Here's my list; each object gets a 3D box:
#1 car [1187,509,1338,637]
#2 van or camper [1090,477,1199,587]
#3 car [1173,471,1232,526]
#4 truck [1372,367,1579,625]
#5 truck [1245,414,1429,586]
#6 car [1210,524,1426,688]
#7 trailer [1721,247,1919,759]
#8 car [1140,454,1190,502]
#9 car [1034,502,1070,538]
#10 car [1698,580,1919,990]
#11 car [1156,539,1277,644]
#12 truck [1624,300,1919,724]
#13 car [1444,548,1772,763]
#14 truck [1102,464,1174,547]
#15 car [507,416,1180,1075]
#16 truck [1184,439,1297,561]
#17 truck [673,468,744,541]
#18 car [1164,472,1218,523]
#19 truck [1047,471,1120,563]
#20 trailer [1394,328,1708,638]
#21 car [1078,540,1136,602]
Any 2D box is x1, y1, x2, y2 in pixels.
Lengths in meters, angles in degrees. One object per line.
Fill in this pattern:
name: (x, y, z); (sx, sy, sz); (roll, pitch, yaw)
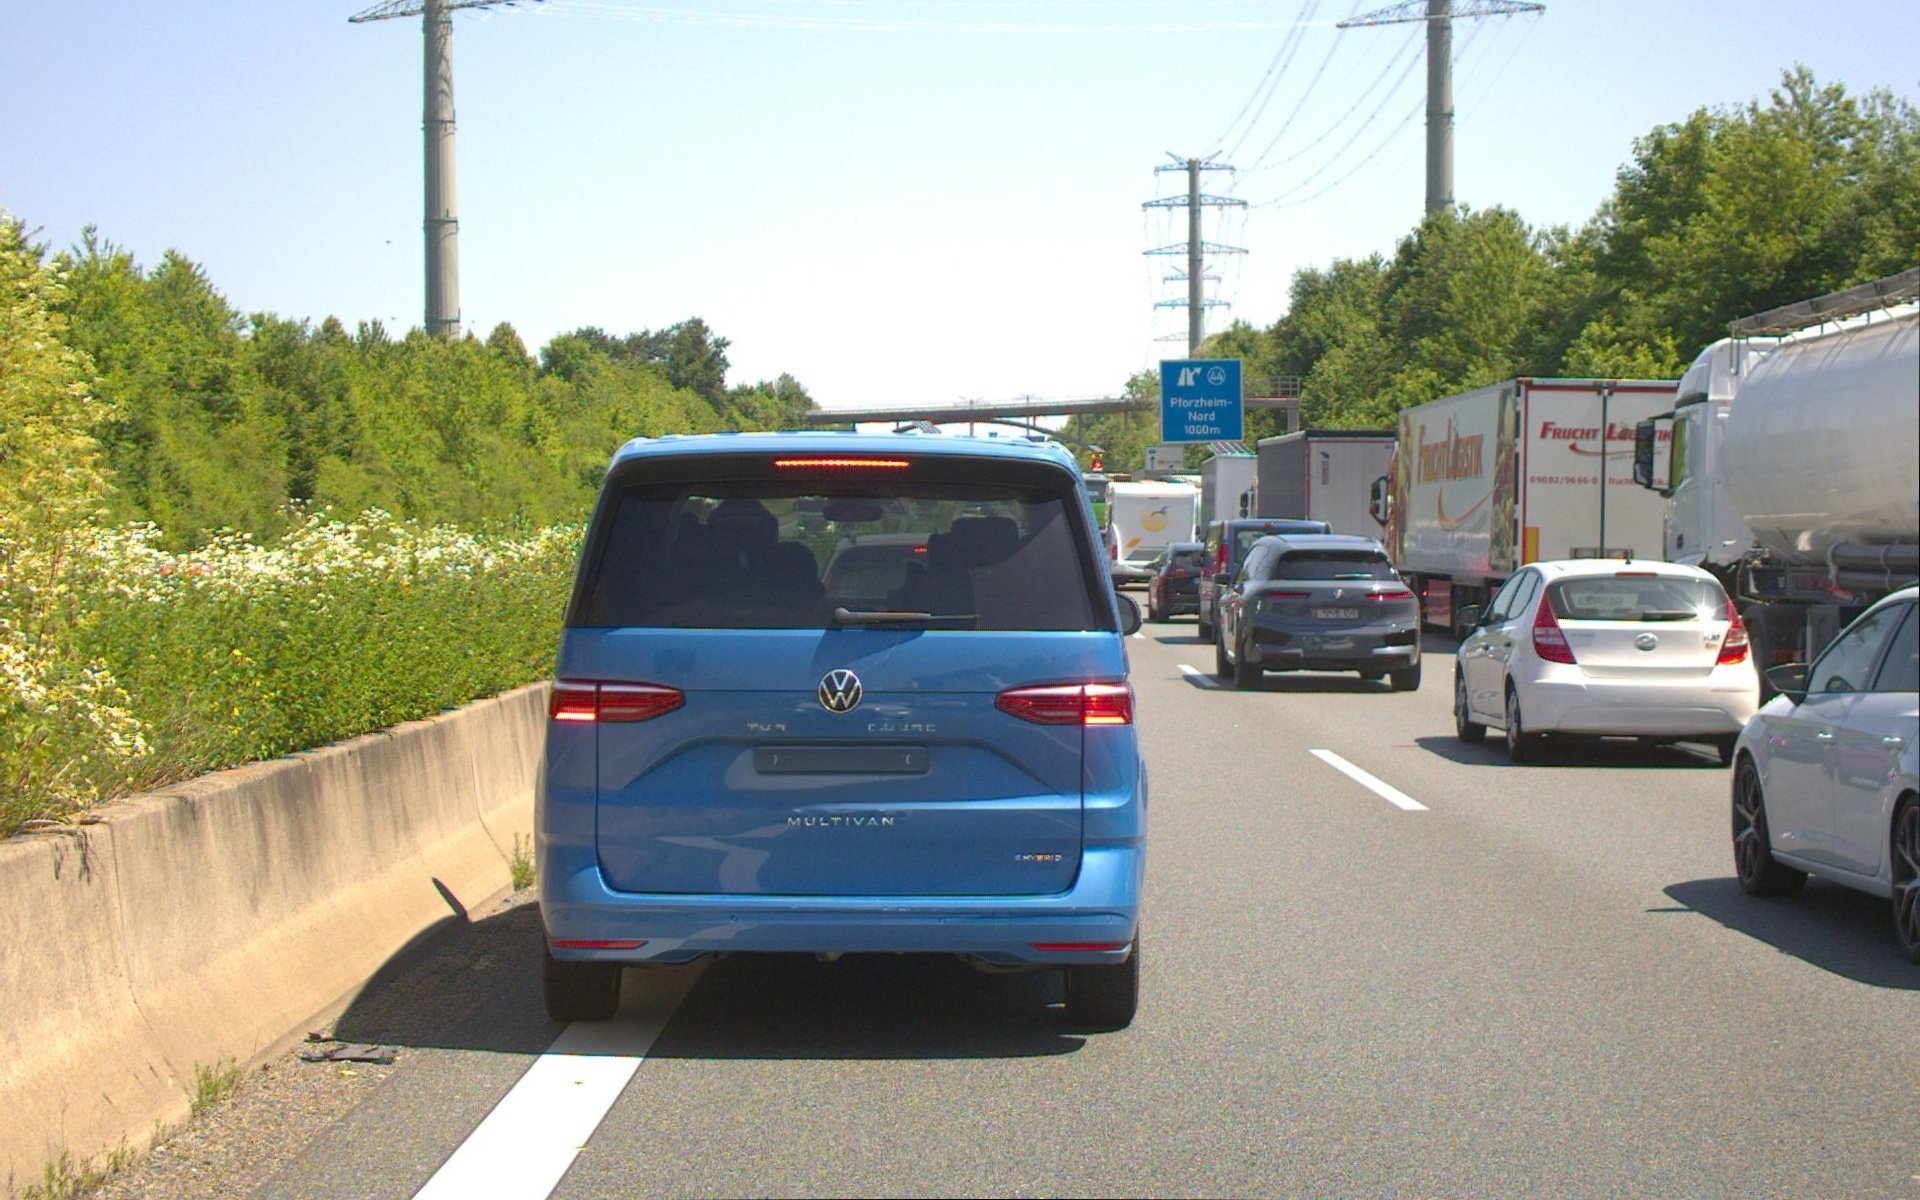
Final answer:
car: (4.784, -0.415, 54.844); (1.923, 1.919, 4.236); (-2, 0, -1)
van or camper: (5.227, -1.913, 98.484); (2.957, 3.011, 7.102); (0, 0, 2)
car: (9.268, -3.880, 131.549); (1.993, 2.007, 4.000); (0, 0, 1)
truck: (9.304, -1.842, 62.543); (2.912, 4.453, 5.143); (-1, 1, 0)
truck: (8.945, -2.260, 83.448); (3.006, 3.753, 15.712); (0, 0, 1)
car: (3.960, 0.067, 38.733); (1.999, 1.709, 4.625); (-1, 0, 1)
trailer: (8.576, -0.749, 26.570); (2.761, 3.831, 11.487); (-1, 1, 0)
car: (9.061, -5.366, 151.842); (1.993, 2.007, 4.000); (0, 0, 1)
car: (5.553, -4.833, 207.855); (1.993, 2.118, 4.000); (0, 0, 0)
car: (4.259, 0.635, 13.706); (1.747, 1.438, 4.313); (-1, 0, 1)
car: (4.944, -0.159, 66.710); (1.923, 1.919, 4.236); (-2, 0, -1)
truck: (8.531, -0.842, 33.969); (2.793, 3.823, 5.572); (-1, 1, 0)
car: (4.822, 0.387, 26.091); (1.817, 1.480, 4.000); (-1, 0, 2)
truck: (10.132, -5.331, 196.669); (3.566, 4.502, 10.294); (0, 0, 0)
car: (-0.326, 0.385, 11.923); (1.920, 1.880, 4.000); (1, 1, 0)
truck: (9.188, -3.196, 114.033); (2.895, 3.753, 13.344); (0, 0, 1)
truck: (-13.597, -5.134, 186.692); (2.911, 3.806, 11.944); (1, 1, 0)
car: (9.486, -4.185, 141.394); (1.993, 2.007, 4.000); (0, 0, 1)
truck: (5.204, -3.466, 146.349); (2.895, 3.754, 10.140); (0, 0, 1)
trailer: (9.336, -1.769, 55.932); (2.912, 4.453, 12.154); (-1, 1, 0)
car: (4.884, -0.943, 114.579); (1.836, 1.992, 4.000); (-1, 0, 2)
